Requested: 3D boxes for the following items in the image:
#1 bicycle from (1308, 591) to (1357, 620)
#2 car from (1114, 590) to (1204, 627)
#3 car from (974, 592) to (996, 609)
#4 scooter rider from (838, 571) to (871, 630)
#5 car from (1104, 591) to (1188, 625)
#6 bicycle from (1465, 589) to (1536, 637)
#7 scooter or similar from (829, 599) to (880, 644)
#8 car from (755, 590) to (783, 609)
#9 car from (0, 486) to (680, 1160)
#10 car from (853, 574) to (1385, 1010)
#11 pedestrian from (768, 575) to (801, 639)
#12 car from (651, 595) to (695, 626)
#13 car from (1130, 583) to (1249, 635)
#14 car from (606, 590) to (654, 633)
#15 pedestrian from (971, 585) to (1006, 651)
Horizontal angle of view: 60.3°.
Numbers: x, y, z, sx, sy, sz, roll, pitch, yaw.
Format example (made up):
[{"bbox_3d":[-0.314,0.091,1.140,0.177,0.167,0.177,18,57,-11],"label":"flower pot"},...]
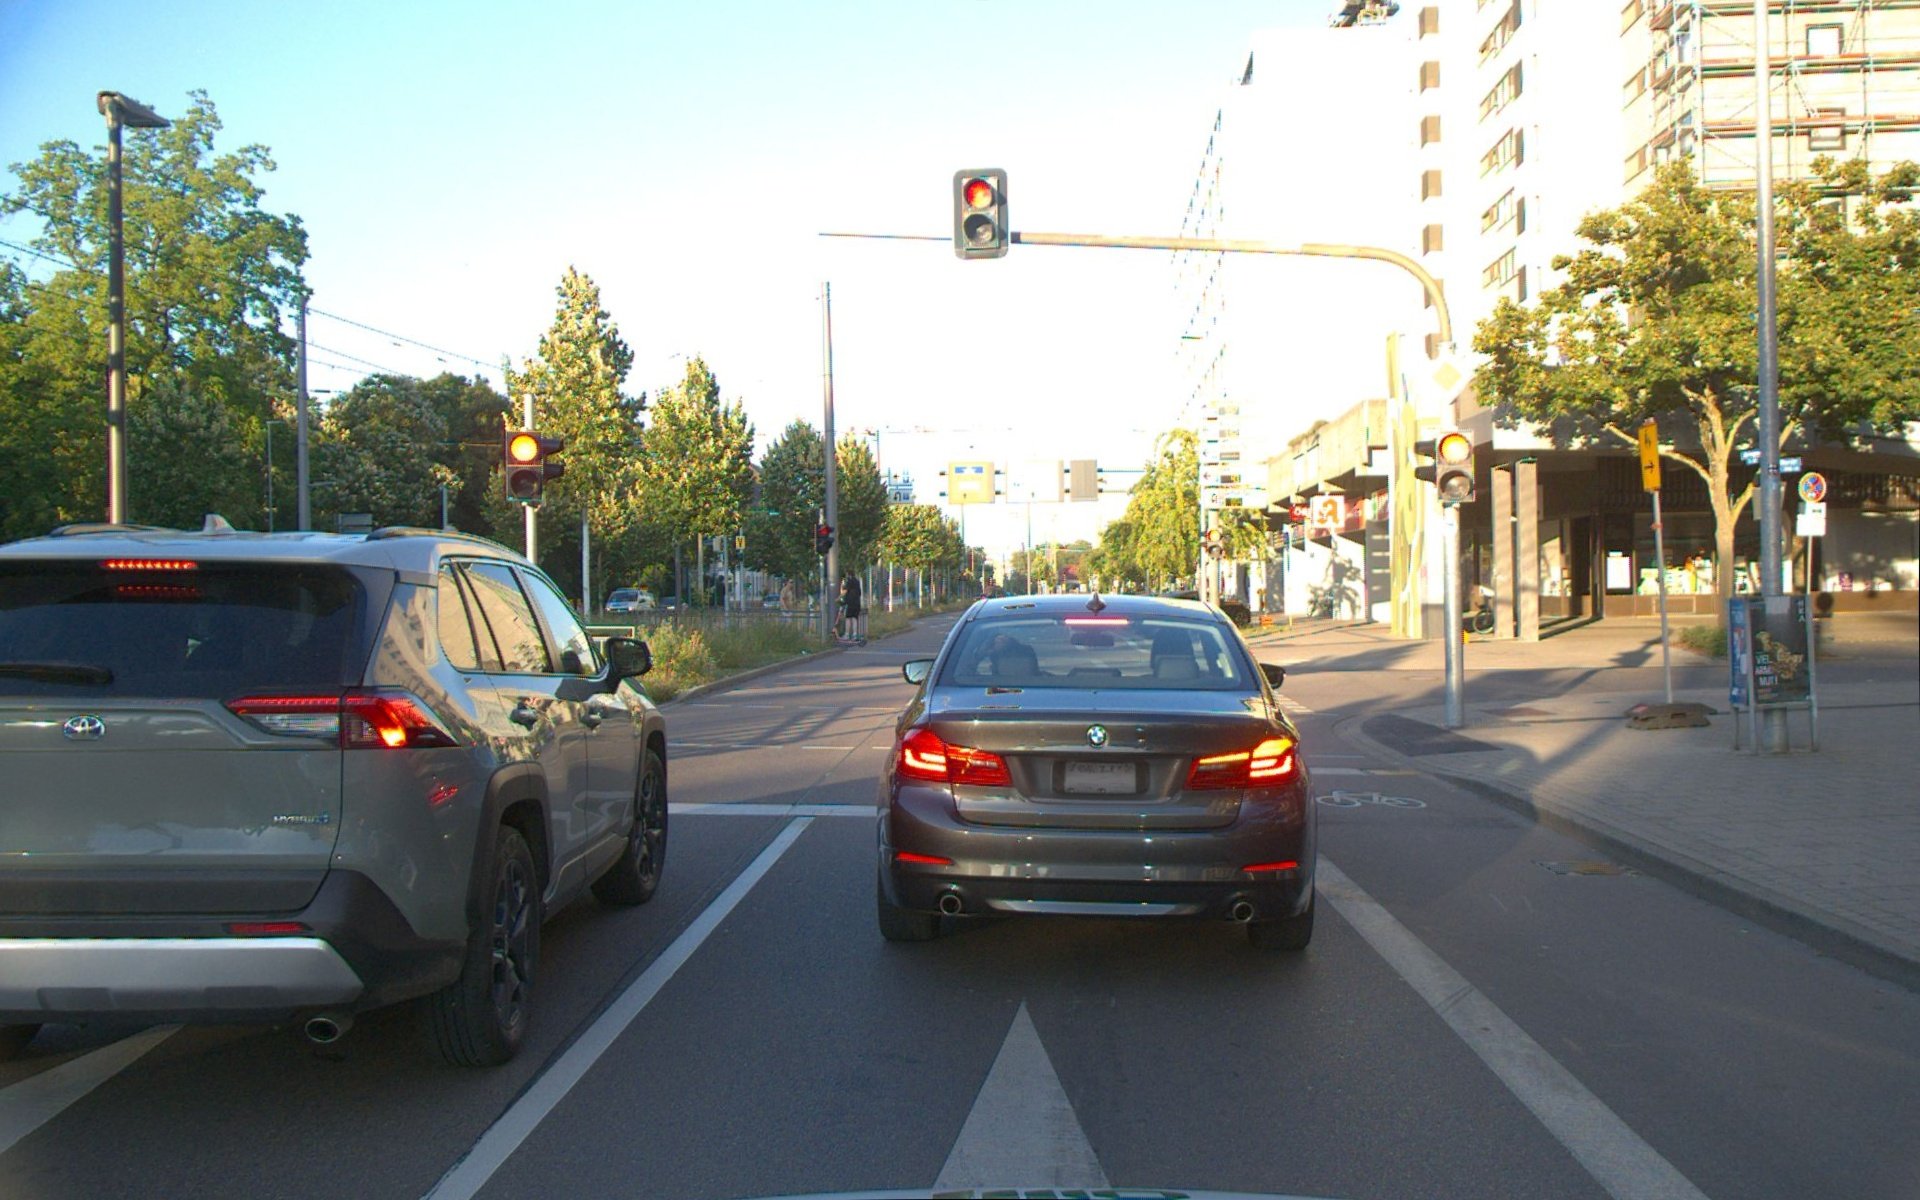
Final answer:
[{"bbox_3d":[15.807,0.230,70.247,1.973,1.169,0.691,2,-1,8],"label":"bicycle"},{"bbox_3d":[9.714,0.390,80.505,4.217,1.687,1.839,-1,1,-34],"label":"car"},{"bbox_3d":[2.264,0.022,148.524,1.938,1.458,4.844,0,1,2],"label":"car"},{"bbox_3d":[-2.802,0.002,43.922,0.804,1.540,0.653,-1,0,-1],"label":"scooter rider"},{"bbox_3d":[9.735,0.401,86.559,4.216,1.687,1.839,-1,1,-34],"label":"car"},{"bbox_3d":[13.922,0.328,42.646,0.677,1.169,2.013,2,-1,-17],"label":"bicycle"},{"bbox_3d":[-2.791,0.563,43.891,1.302,1.173,0.513,-1,0,-1],"label":"scooter or similar"},{"bbox_3d":[-15.784,-0.070,136.745,1.762,1.507,3.784,-1,0,2],"label":"car"},{"bbox_3d":[-2.254,0.508,6.272,1.817,1.687,4.267,0,1,-2],"label":"car"},{"bbox_3d":[0.665,0.648,8.178,1.892,1.507,4.524,0,1,3],"label":"car"},{"bbox_3d":[-4.899,0.197,46.220,0.818,1.742,0.648,-1,0,0],"label":"pedestrian"},{"bbox_3d":[-18.063,0.624,104.358,1.952,1.775,4.751,0,1,0],"label":"car"},{"bbox_3d":[8.091,0.285,58.195,4.230,1.687,1.833,-1,2,-41],"label":"car"},{"bbox_3d":[-18.112,0.589,90.997,1.954,2.205,4.748,0,1,-4],"label":"car"},{"bbox_3d":[0.717,0.449,41.498,0.817,1.614,0.812,-1,0,3],"label":"pedestrian"}]
